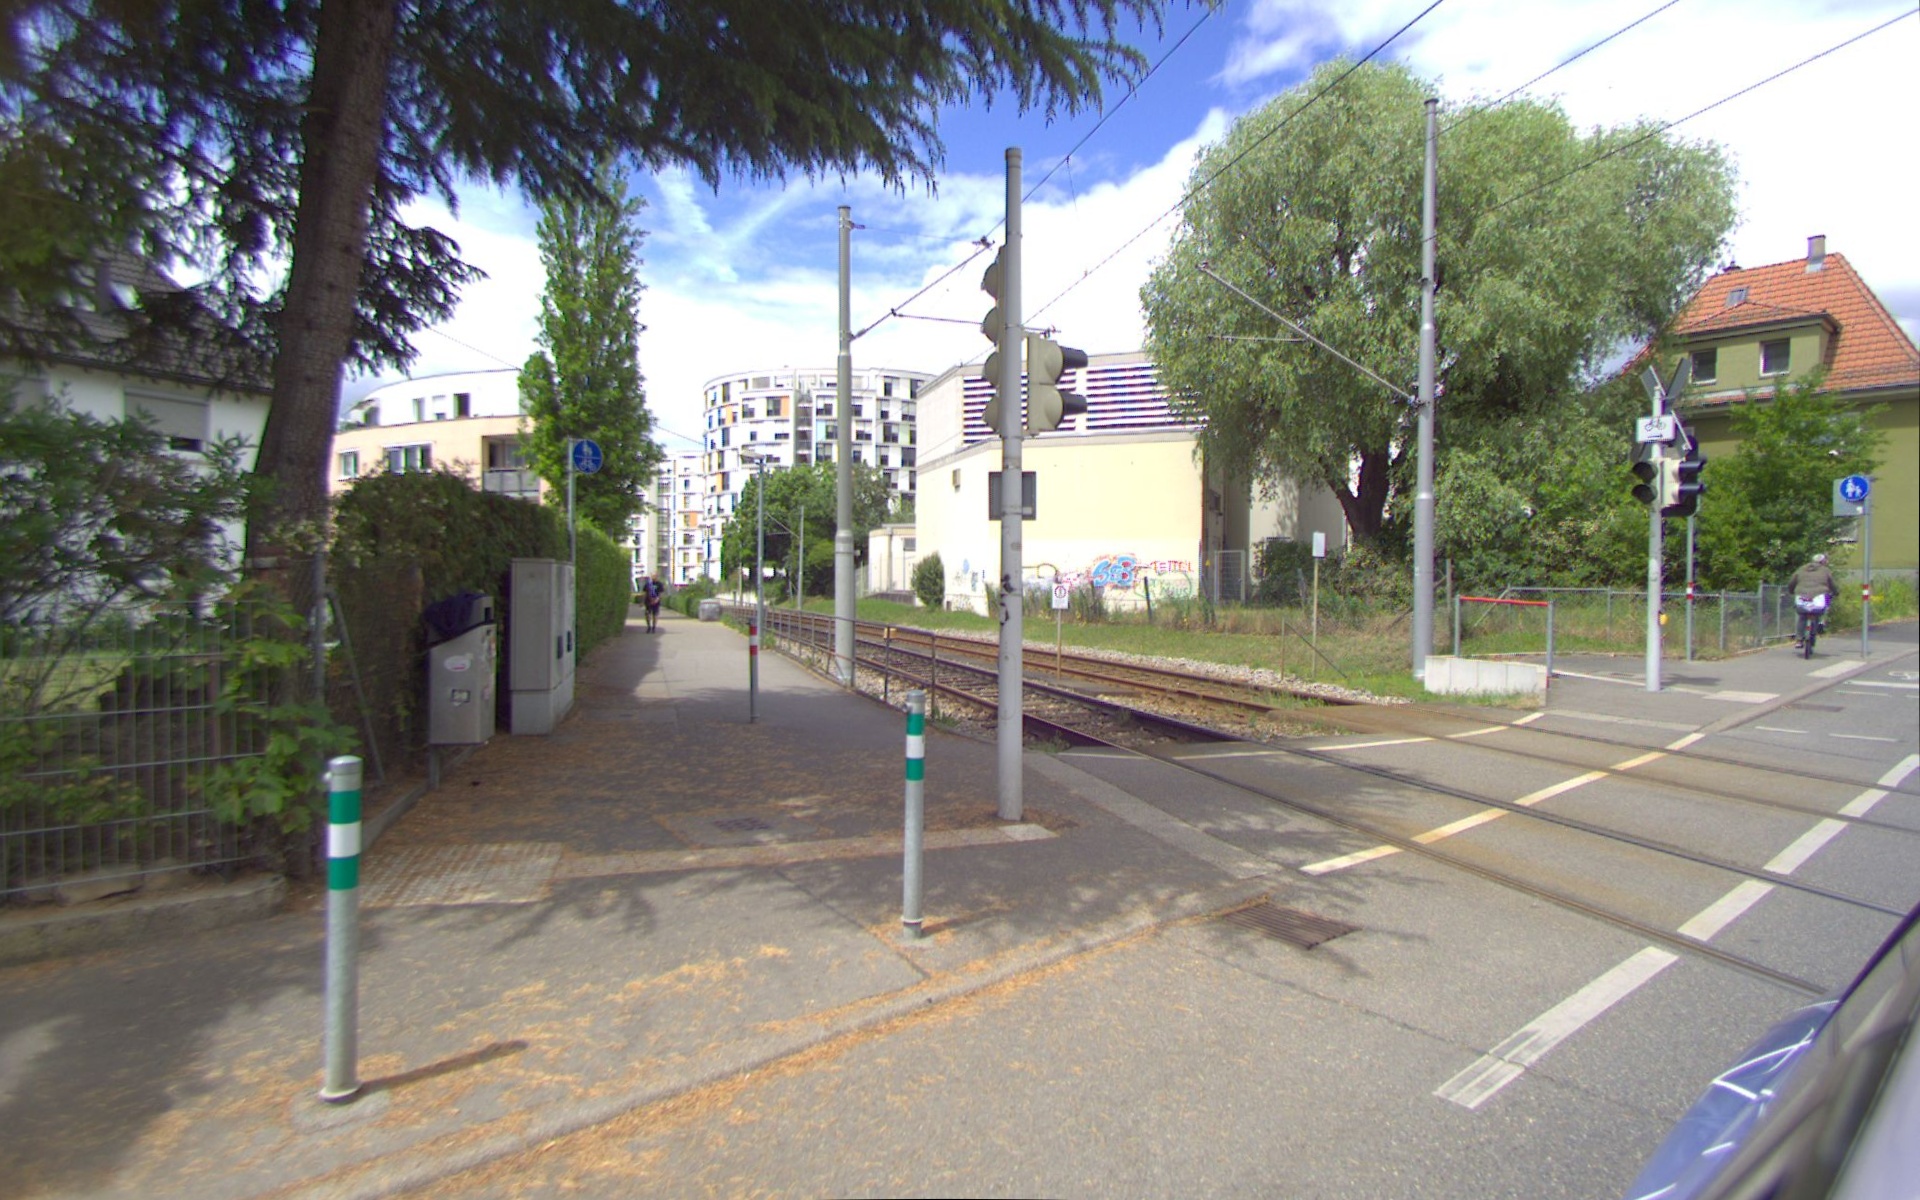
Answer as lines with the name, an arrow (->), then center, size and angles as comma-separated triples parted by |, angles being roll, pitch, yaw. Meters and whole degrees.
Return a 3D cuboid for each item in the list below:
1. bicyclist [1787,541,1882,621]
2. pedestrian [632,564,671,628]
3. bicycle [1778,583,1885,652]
bicyclist -> 14.656, -0.332, 16.962 | 1.082, 1.262, 0.935 | 0, 4, -37
pedestrian -> -8.424, -0.114, 27.690 | 0.913, 1.707, 0.921 | -1, 1, -12
bicycle -> 14.657, 0.261, 17.004 | 1.880, 1.053, 0.935 | -1, 4, -37
